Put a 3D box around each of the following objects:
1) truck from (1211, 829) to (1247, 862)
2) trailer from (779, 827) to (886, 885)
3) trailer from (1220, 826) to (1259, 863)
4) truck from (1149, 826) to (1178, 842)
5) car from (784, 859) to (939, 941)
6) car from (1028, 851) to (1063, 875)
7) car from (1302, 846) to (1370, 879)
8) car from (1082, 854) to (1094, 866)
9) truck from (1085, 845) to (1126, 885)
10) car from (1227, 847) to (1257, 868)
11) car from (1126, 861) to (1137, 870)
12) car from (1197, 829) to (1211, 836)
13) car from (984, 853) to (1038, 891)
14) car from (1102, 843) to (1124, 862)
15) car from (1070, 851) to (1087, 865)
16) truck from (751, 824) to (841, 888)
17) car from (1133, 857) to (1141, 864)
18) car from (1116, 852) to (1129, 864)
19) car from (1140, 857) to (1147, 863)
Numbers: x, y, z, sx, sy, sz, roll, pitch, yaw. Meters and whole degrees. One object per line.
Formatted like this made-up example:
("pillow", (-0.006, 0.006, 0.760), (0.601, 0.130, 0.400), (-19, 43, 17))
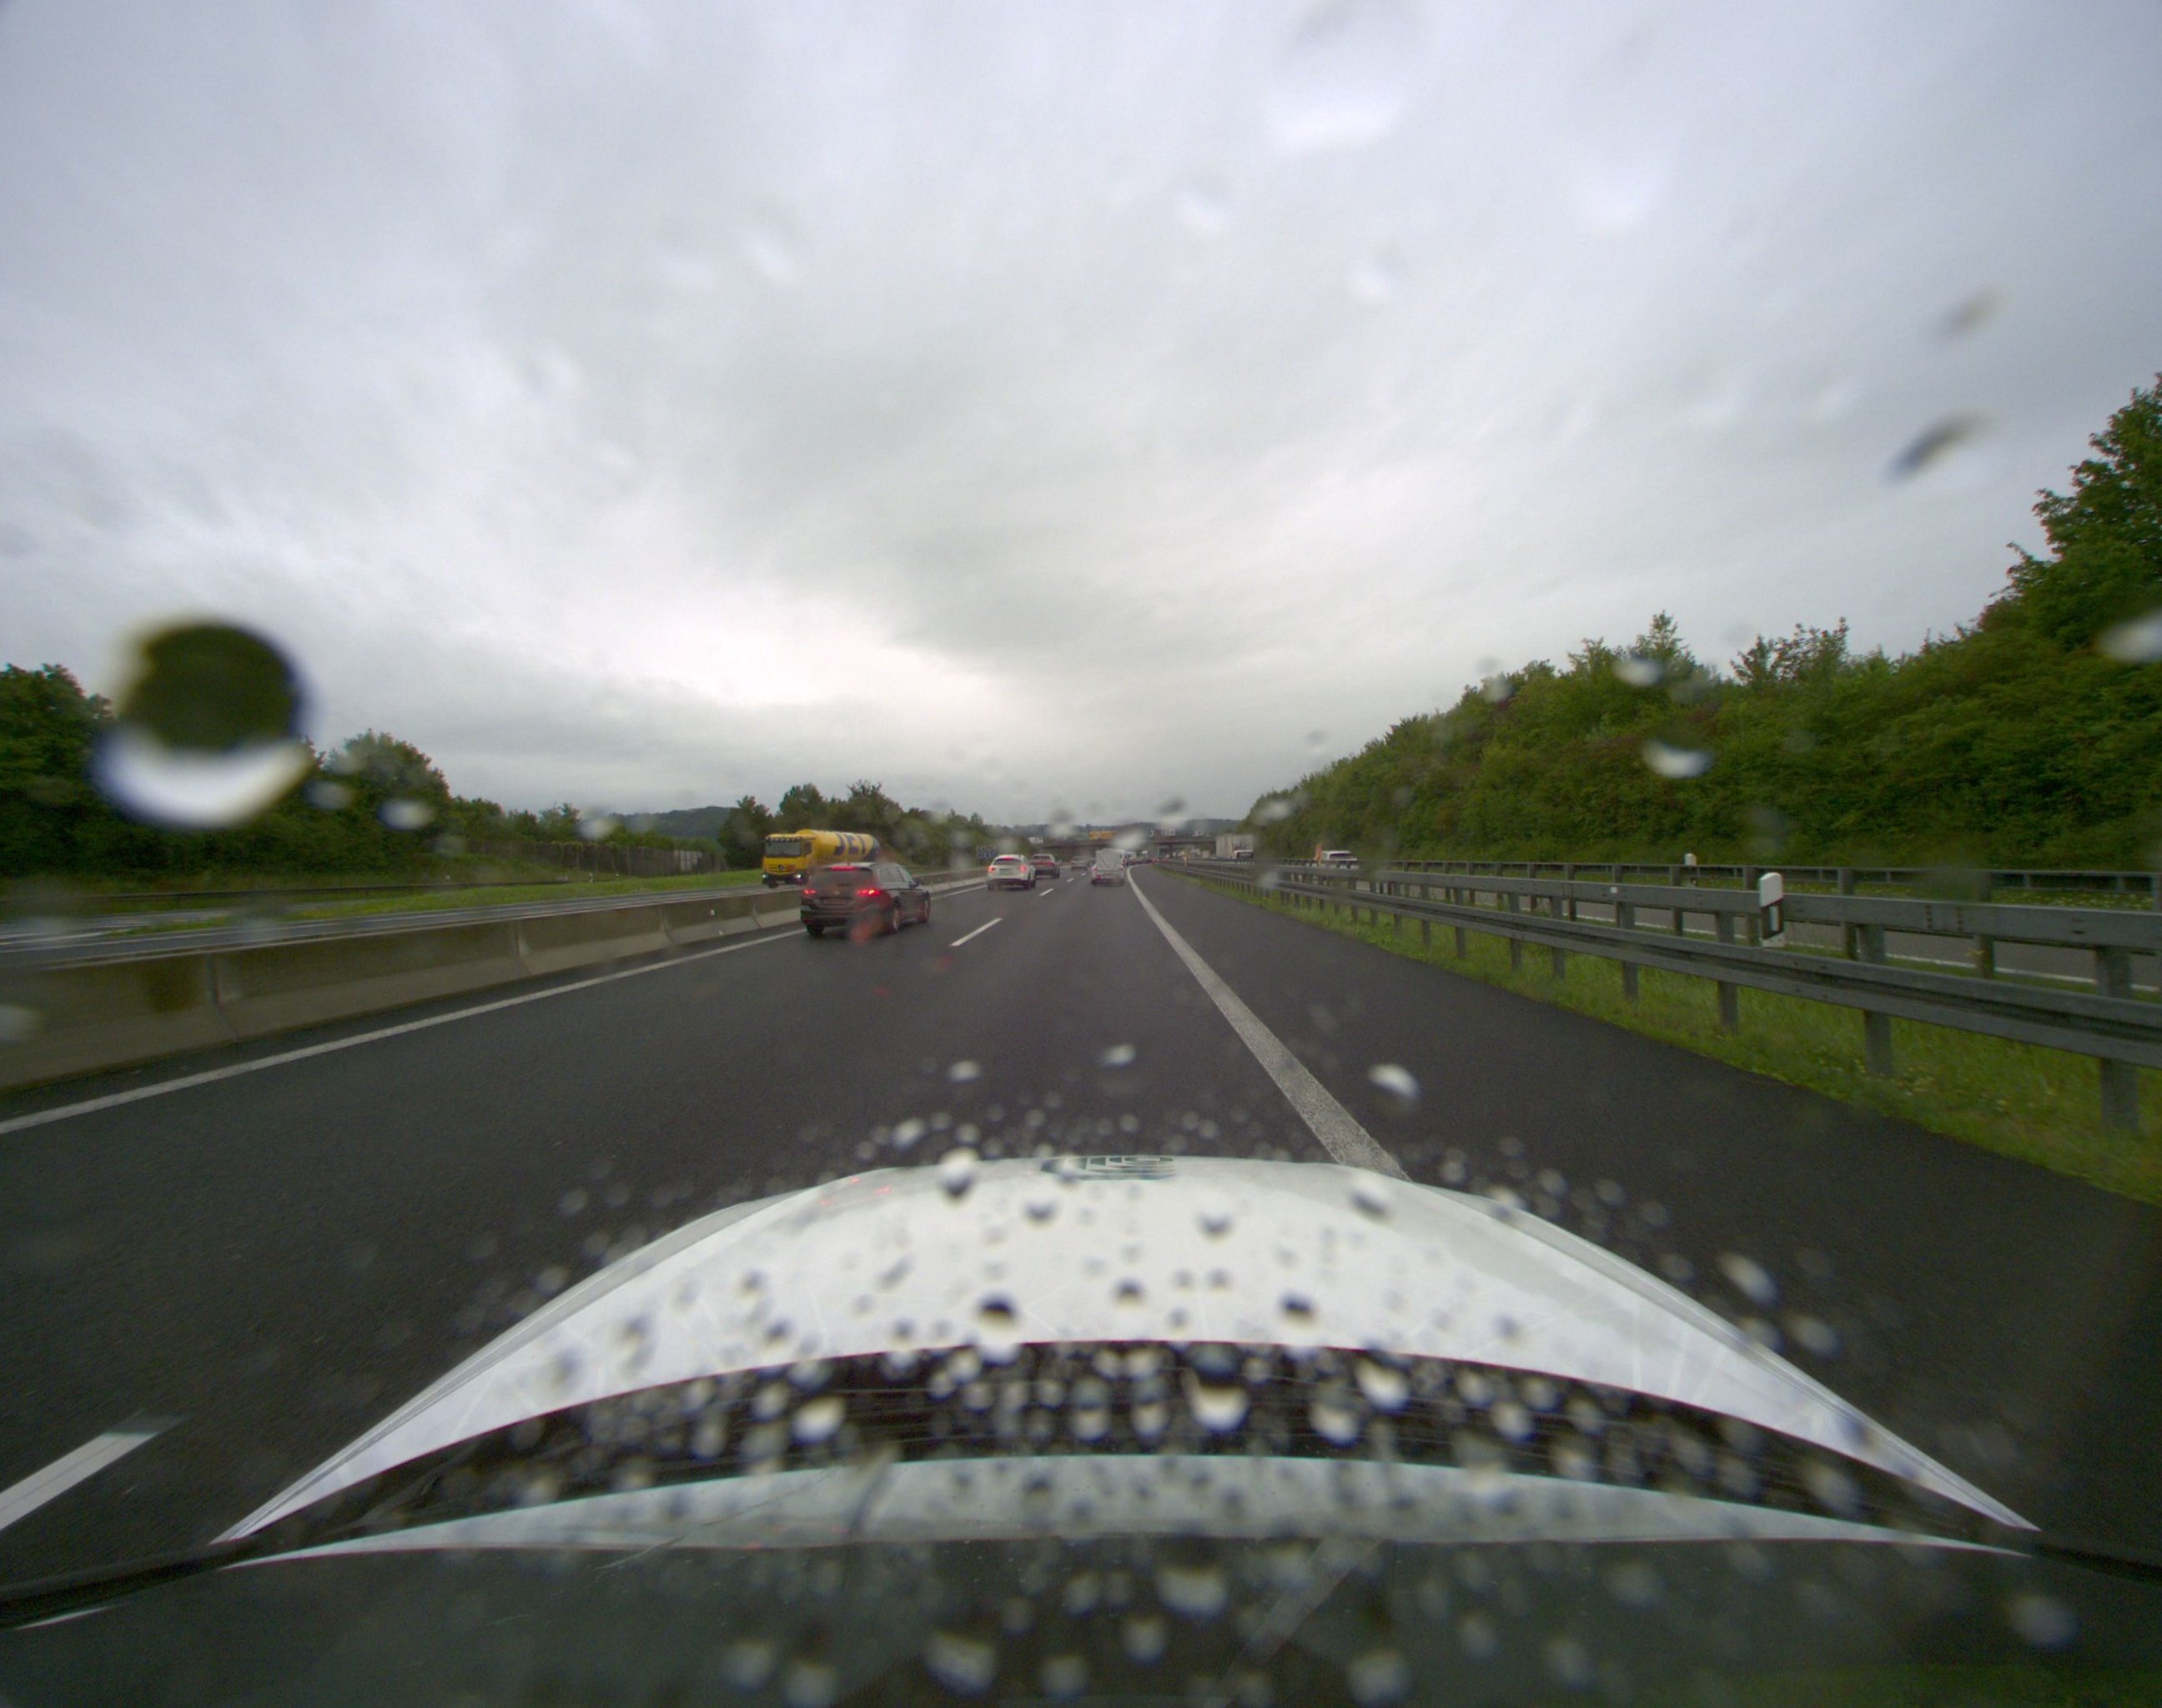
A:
("truck", (20.388, -1.195, 112.891), (3.423, 4.289, 10.426), (-1, 0, 3))
("trailer", (-15.832, 0.149, 53.125), (2.749, 3.398, 11.458), (0, 0, 4))
("trailer", (19.837, -1.135, 102.563), (3.423, 4.289, 10.463), (-1, 0, 3))
("truck", (25.755, -6.228, 254.314), (3.791, 4.836, 9.944), (-1, 0, -31))
("car", (-4.556, 0.885, 17.765), (1.893, 1.497, 4.853), (-1, 0, 2))
("car", (-2.449, 0.610, 57.662), (2.166, 1.631, 4.502), (-1, 0, 1))
("car", (13.084, 0.432, 42.124), (2.002, 1.548, 4.694), (-1, 0, -1))
("car", (1.087, 0.935, 128.465), (1.835, 1.819, 4.000), (-1, 0, 1))
("truck", (1.431, 0.524, 44.550), (2.010, 1.985, 7.219), (-1, 0, 3))
("car", (14.379, 0.310, 72.980), (1.853, 1.805, 4.648), (-1, 0, 1))
("car", (10.242, 2.361, 165.393), (1.988, 1.750, 3.998), (0, 0, -1))
("car", (35.877, -6.157, 237.519), (1.851, 1.915, 3.956), (0, 0, -37))
("car", (-3.269, 0.816, 38.803), (1.968, 1.639, 4.503), (-1, 0, 3))
("car", (4.611, -0.225, 115.890), (3.003, 2.616, 6.081), (-1, 0, 4))
("car", (-0.263, 0.464, 95.206), (1.894, 1.613, 4.017), (-1, 0, 1))
("truck", (-16.249, 0.123, 46.843), (2.749, 3.398, 5.851), (0, 0, 4))
("car", (14.645, 1.750, 213.439), (1.985, 1.750, 4.003), (0, 0, 3))
("car", (7.349, 0.678, 145.480), (1.988, 2.036, 4.150), (0, 0, -1))
("car", (18.548, 1.767, 241.018), (1.984, 1.750, 4.004), (0, 0, 4))
